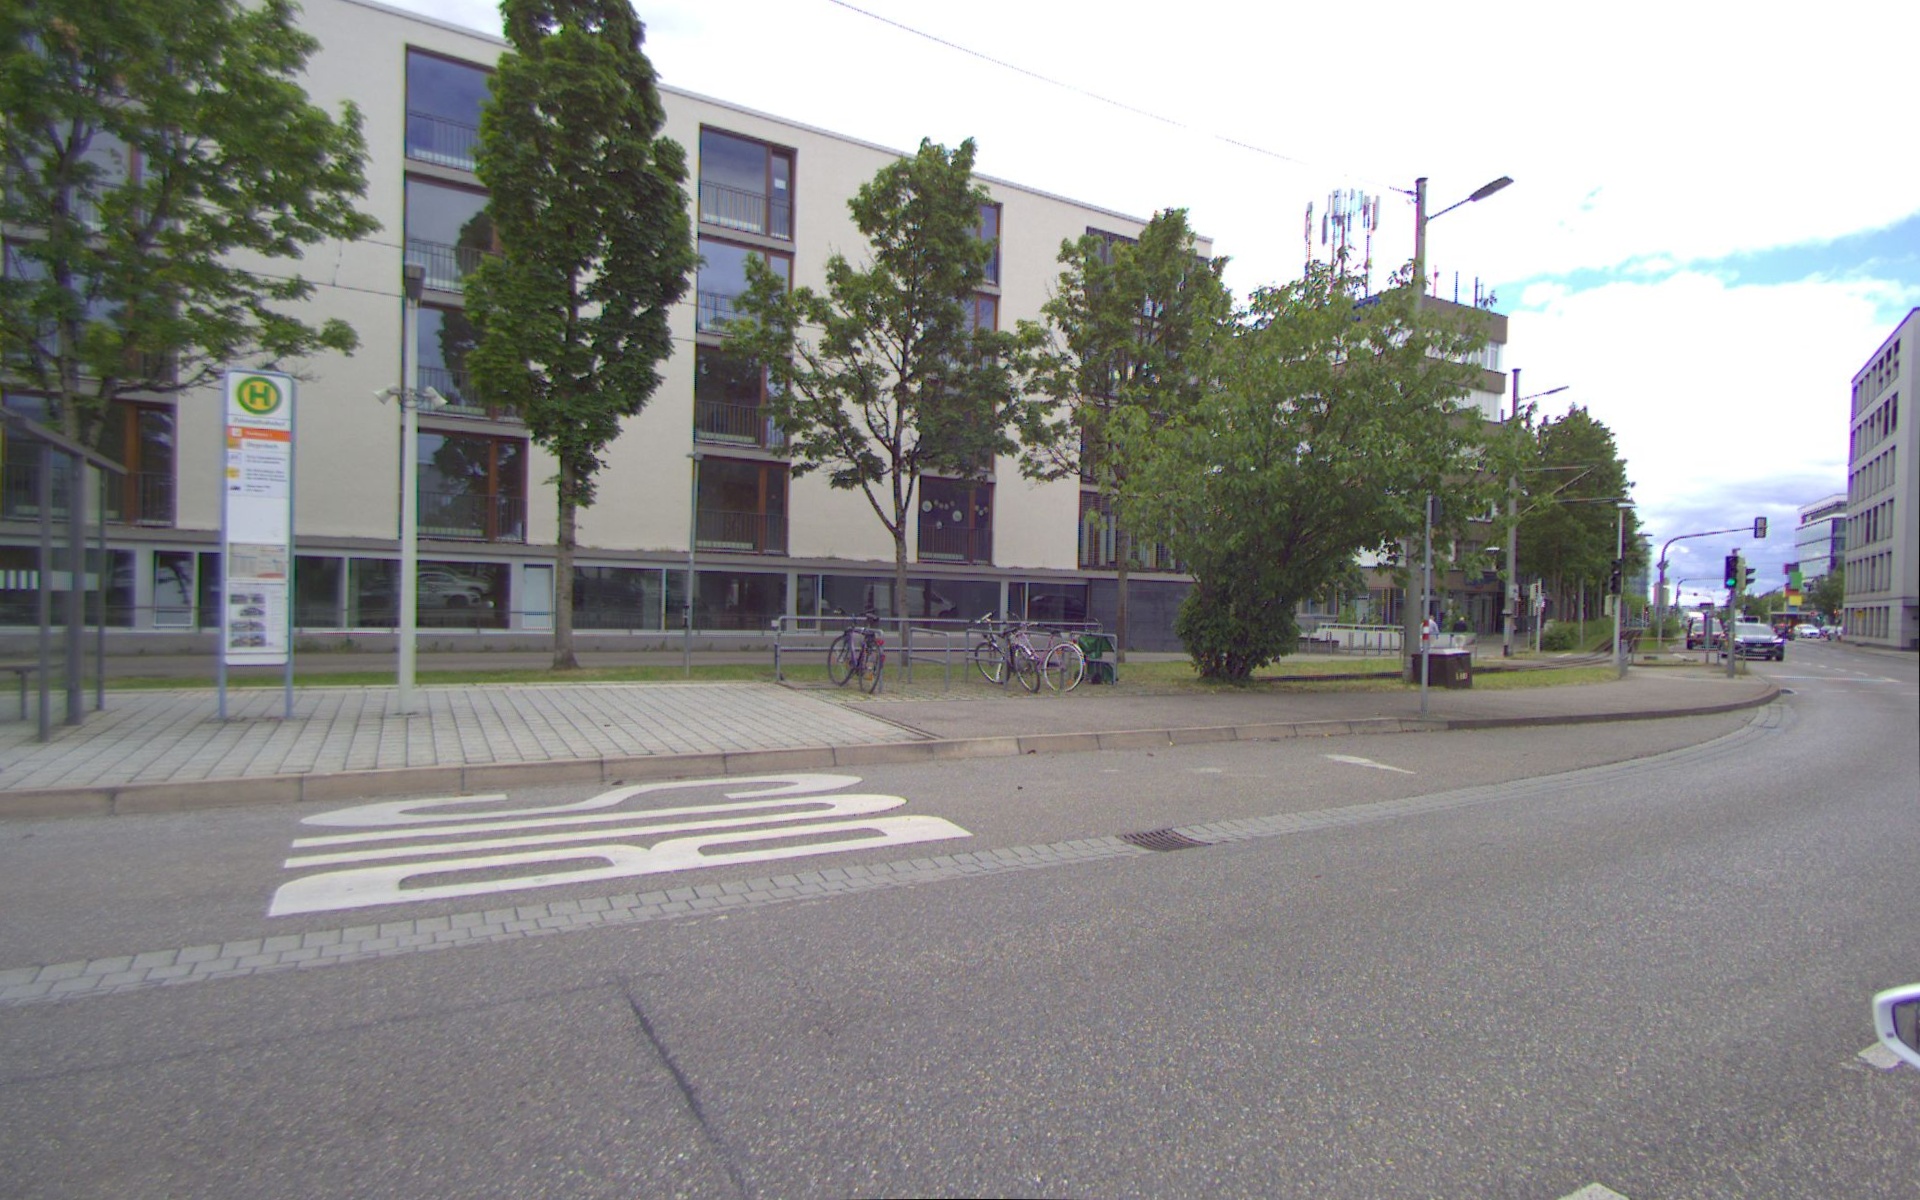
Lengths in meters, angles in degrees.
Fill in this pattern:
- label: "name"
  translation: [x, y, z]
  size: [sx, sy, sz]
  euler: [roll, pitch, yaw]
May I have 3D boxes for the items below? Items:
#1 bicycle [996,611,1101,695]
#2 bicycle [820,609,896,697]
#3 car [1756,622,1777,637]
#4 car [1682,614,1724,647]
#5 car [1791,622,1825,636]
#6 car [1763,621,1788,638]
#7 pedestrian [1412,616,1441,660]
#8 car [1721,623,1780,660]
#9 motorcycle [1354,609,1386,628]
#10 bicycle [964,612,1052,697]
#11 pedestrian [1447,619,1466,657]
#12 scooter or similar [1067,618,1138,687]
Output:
- label: "bicycle"
  translation: [1.282, 0.755, 14.882]
  size: [0.405, 1.103, 1.689]
  euler: [1, 2, -42]
- label: "bicycle"
  translation: [-1.409, 0.679, 13.589]
  size: [0.391, 1.039, 1.680]
  euler: [1, 2, -28]
- label: "car"
  translation: [92.010, 3.309, 114.574]
  size: [1.737, 1.630, 4.171]
  euler: [2, 0, 38]
- label: "car"
  translation: [42.556, 1.721, 57.584]
  size: [1.658, 1.832, 4.340]
  euler: [-1, -2, 33]
- label: "car"
  translation: [97.040, 3.337, 114.990]
  size: [1.962, 1.522, 3.997]
  euler: [1, 0, 25]
- label: "car"
  translation: [81.292, 2.924, 100.139]
  size: [1.737, 1.630, 4.171]
  euler: [2, 0, 38]
- label: "pedestrian"
  translation: [17.072, 1.382, 36.749]
  size: [0.836, 1.547, 0.993]
  euler: [0, -1, 33]
- label: "car"
  translation: [33.727, 1.741, 42.942]
  size: [1.744, 1.498, 3.987]
  euler: [-1, -2, 35]
- label: "motorcycle"
  translation: [25.951, 1.163, 63.595]
  size: [0.563, 1.215, 1.864]
  euler: [1, 0, -39]
- label: "bicycle"
  translation: [0.655, 0.754, 14.473]
  size: [0.403, 1.060, 1.741]
  euler: [1, 2, -28]
- label: "pedestrian"
  translation: [22.660, 1.728, 45.826]
  size: [0.679, 1.728, 0.680]
  euler: [0, -1, 37]
- label: "scooter or similar"
  translation: [2.241, 0.811, 15.860]
  size: [0.767, 1.023, 0.781]
  euler: [1, 0, -38]
